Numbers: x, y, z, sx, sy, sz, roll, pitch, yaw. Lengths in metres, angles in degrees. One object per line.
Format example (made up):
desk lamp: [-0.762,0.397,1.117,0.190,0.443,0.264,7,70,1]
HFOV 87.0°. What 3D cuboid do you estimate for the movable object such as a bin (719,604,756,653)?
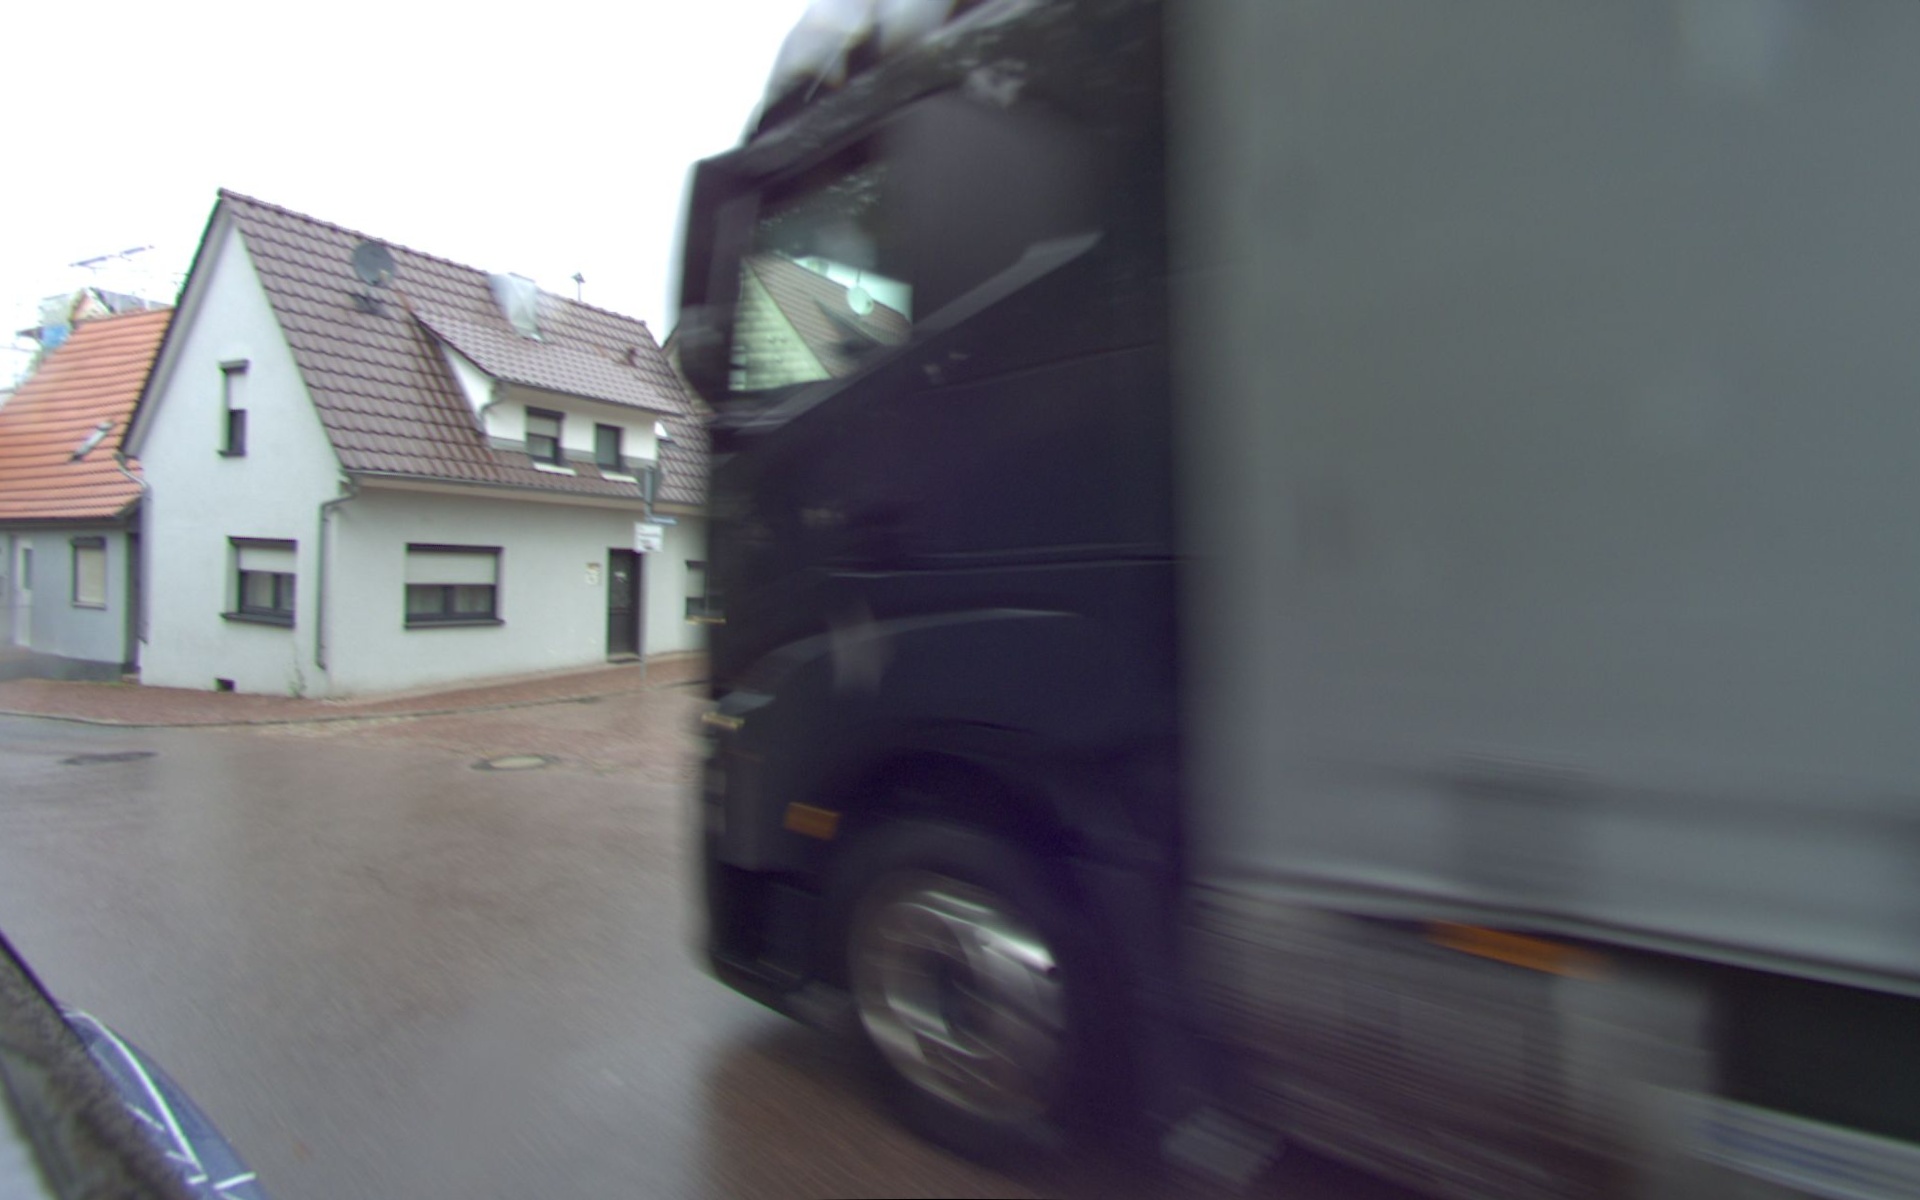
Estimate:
movable object such as a bin: [-4.447,0.565,20.210,0.499,0.947,0.512,-1,0,29]

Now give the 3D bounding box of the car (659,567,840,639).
car: [-4.939,0.081,23.675,3.982,1.544,1.710,-1,0,29]

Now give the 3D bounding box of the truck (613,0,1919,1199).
truck: [3.439,-0.690,0.994,10.435,3.998,2.816,-1,0,45]
